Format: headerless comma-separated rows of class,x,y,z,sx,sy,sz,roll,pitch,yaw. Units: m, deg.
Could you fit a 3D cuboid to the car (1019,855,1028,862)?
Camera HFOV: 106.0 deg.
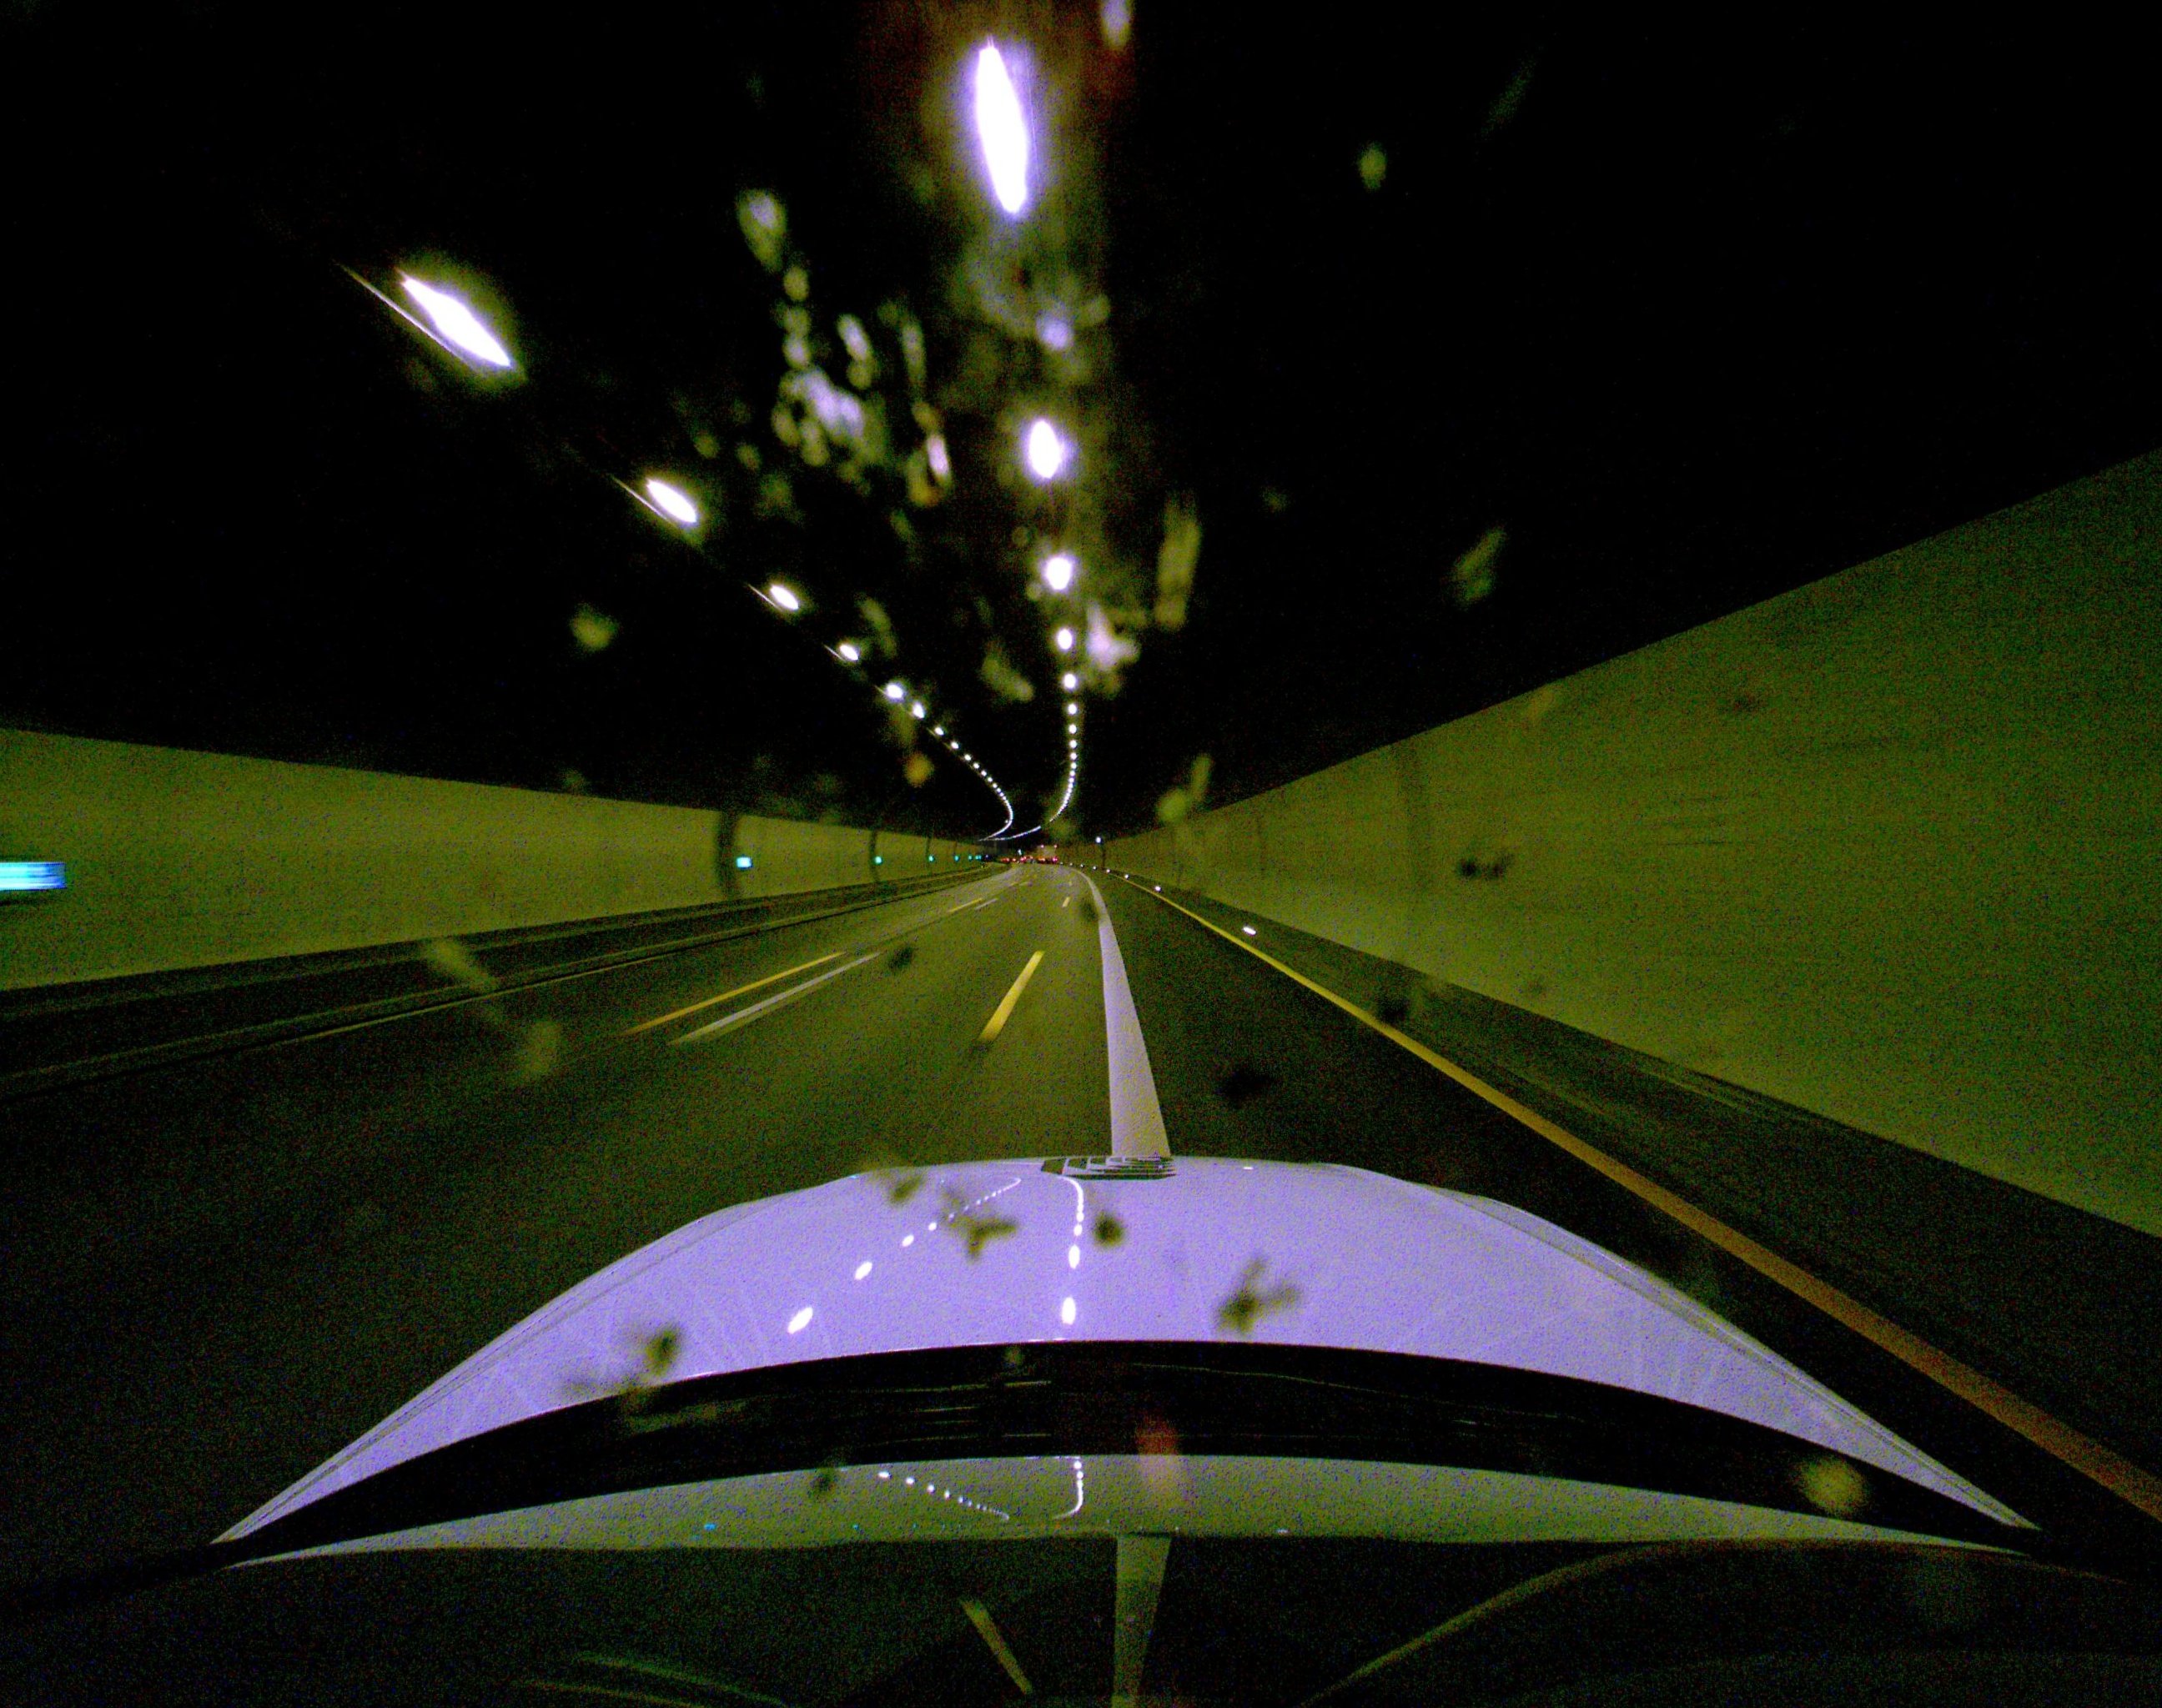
car,-15.306,1.171,215.562,1.994,2.014,3.986,0,0,-10

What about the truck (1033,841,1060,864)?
truck,-6.752,-0.208,156.955,3.476,4.316,10.907,0,0,-12

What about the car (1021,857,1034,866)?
car,-10.411,1.429,157.982,1.995,1.582,3.983,0,-1,-12

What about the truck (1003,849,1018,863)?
truck,-22.174,0.771,255.101,3.476,4.316,10.907,-1,0,-12
